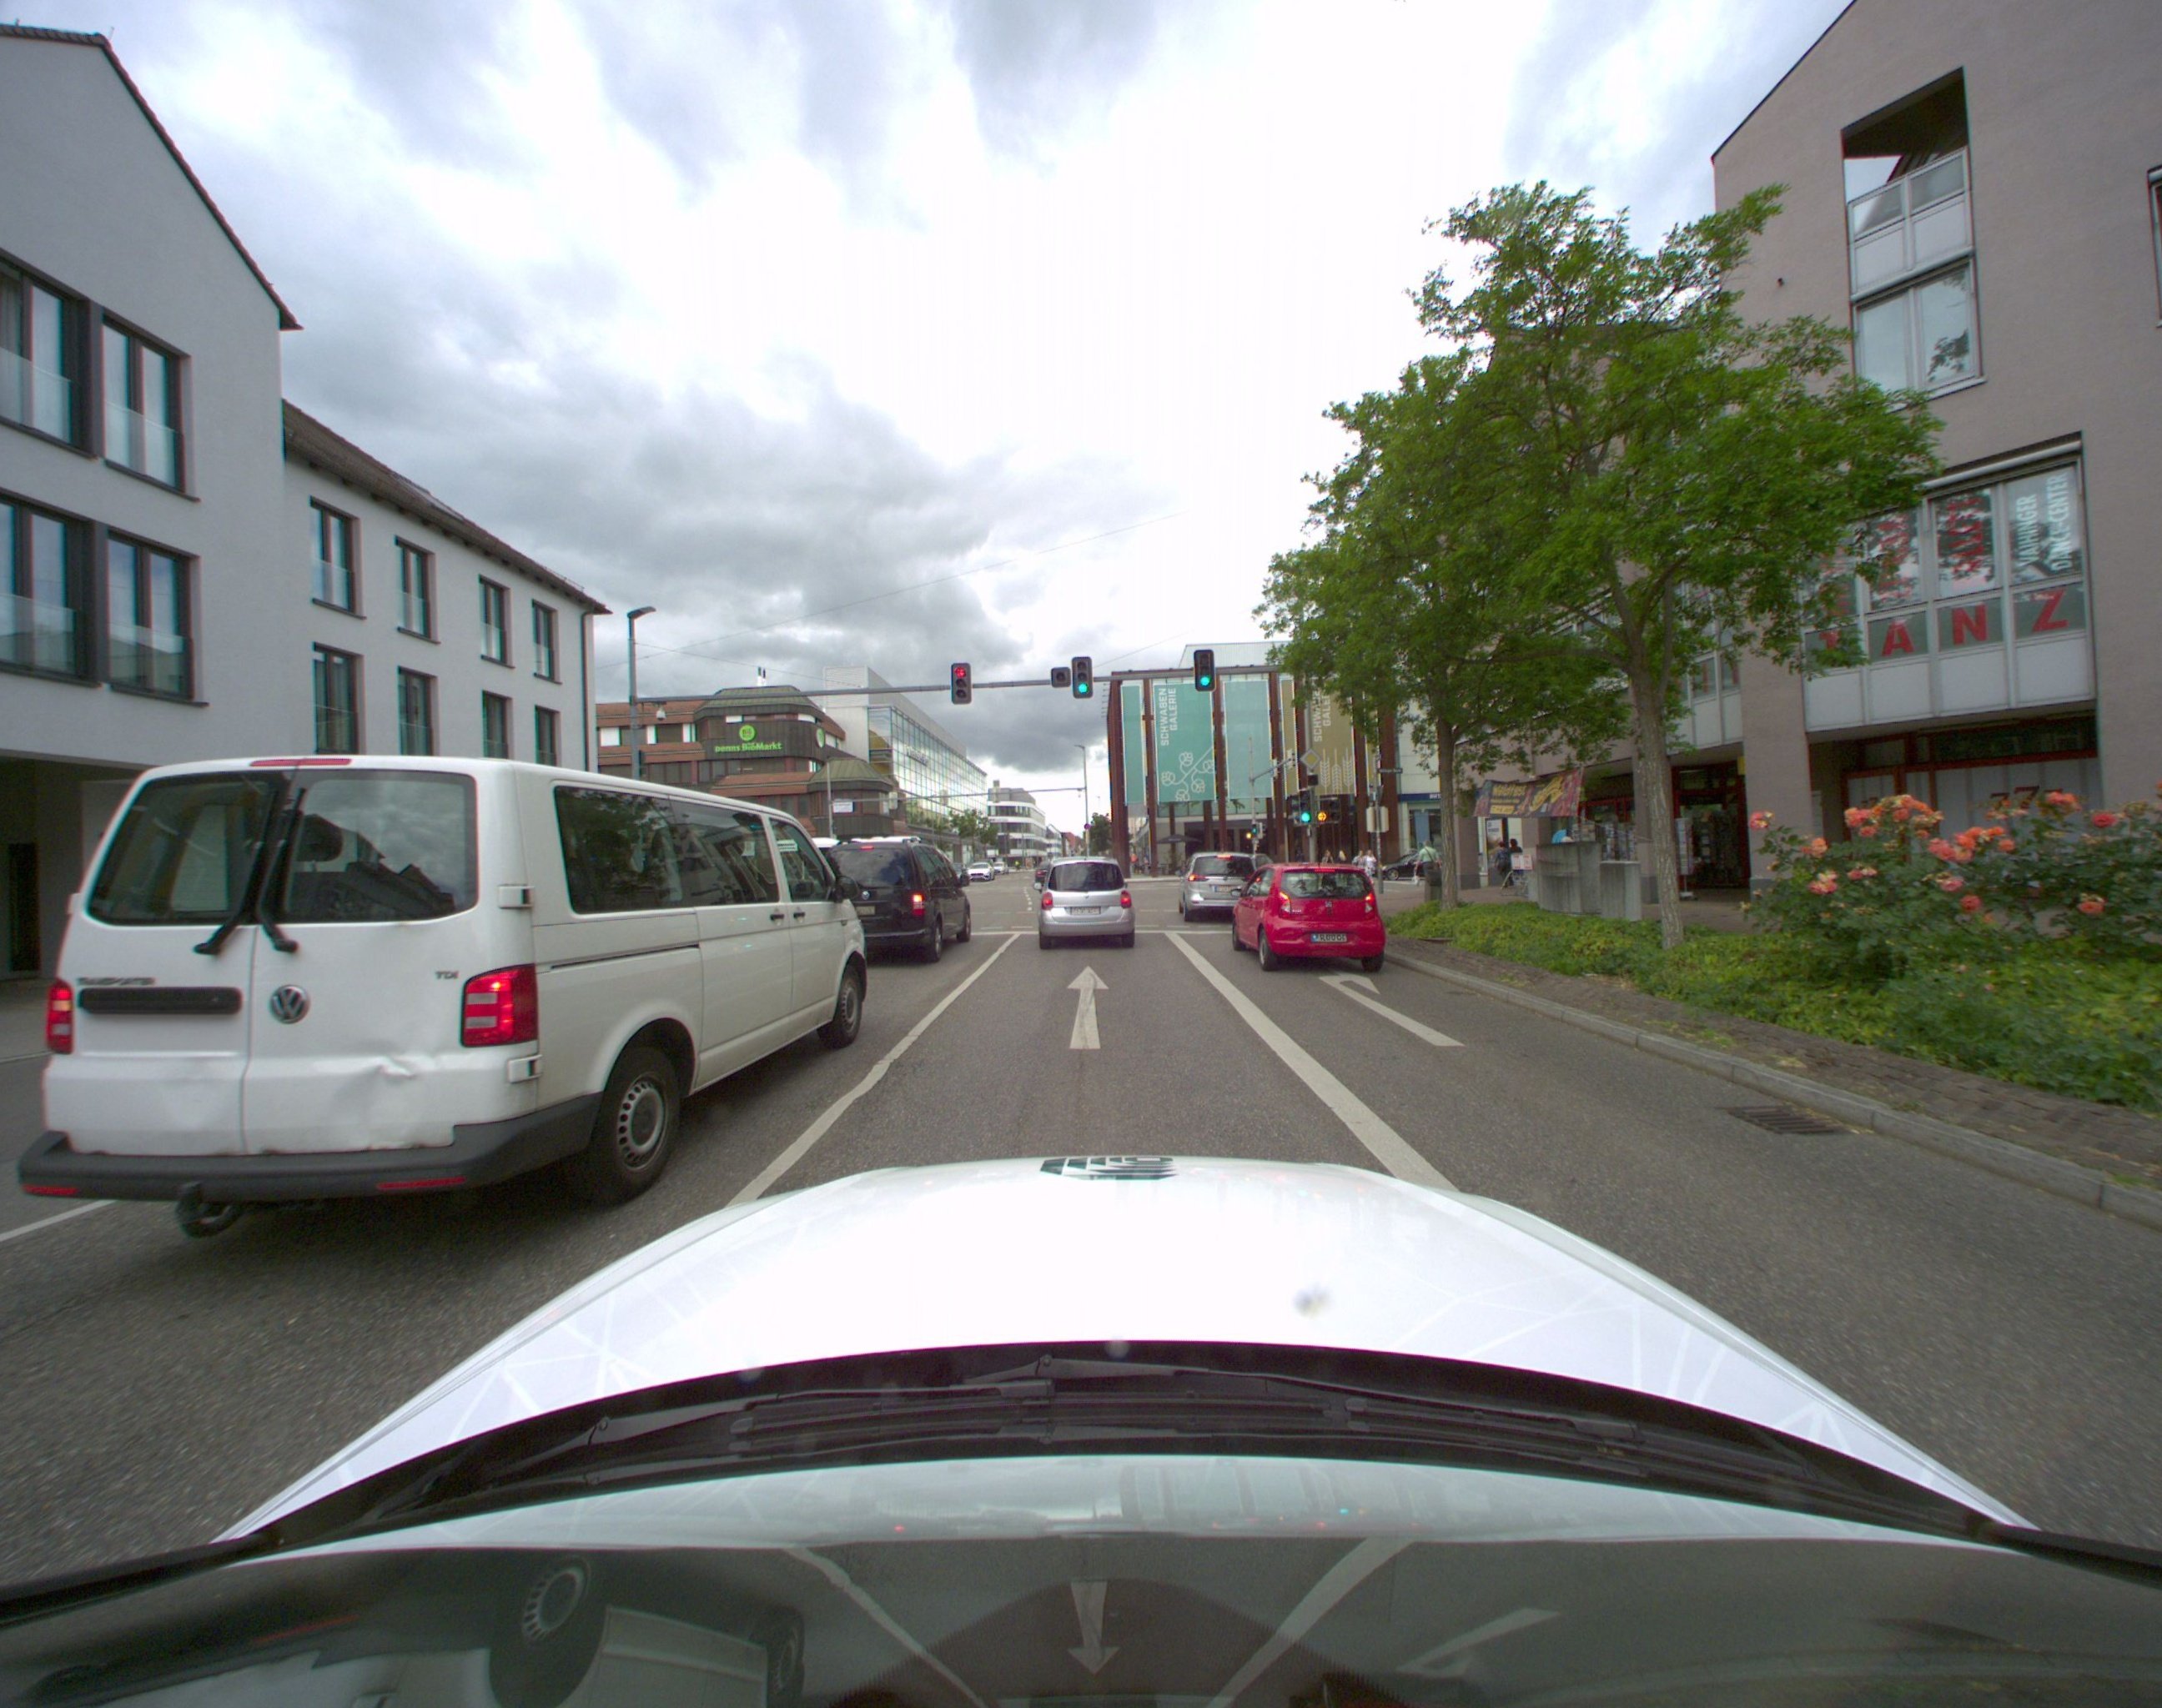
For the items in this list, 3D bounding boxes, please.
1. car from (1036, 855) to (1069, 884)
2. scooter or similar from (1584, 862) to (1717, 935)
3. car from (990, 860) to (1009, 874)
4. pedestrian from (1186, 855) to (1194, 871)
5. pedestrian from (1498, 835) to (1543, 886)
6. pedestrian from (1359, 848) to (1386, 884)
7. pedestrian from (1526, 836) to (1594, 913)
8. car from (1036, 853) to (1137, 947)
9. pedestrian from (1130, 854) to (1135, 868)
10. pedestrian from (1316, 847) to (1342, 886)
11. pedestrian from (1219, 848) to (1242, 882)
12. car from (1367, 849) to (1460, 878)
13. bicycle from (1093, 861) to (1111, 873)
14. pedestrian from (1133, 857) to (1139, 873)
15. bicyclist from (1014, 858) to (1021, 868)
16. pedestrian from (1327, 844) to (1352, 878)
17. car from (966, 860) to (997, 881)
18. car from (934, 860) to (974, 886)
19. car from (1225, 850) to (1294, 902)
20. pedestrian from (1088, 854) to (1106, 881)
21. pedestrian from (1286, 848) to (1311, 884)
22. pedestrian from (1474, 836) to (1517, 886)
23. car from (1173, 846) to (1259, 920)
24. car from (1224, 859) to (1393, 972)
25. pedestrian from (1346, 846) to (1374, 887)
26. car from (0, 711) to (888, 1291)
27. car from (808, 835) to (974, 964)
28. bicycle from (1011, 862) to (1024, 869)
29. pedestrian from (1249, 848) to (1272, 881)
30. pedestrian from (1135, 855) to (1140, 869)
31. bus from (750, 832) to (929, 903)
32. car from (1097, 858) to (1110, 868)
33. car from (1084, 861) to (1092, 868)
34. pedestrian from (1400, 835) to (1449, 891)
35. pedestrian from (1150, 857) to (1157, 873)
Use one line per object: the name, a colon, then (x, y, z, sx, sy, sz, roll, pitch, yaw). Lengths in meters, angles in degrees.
car: (-1.612, 0.868, 46.491, 1.663, 1.554, 3.643, 0, 0, 1)
scooter or similar: (9.272, 0.708, 13.360, 0.471, 1.087, 1.877, -2, -1, -16)
car: (-9.616, 1.521, 95.854, 1.654, 1.465, 4.001, -3, 0, 2)
pedestrian: (8.622, 0.724, 64.453, 0.513, 1.208, 0.795, -2, 1, -1)
pedestrian: (14.261, 0.210, 26.450, 0.828, 1.584, 1.057, -2, -1, -3)
pedestrian: (13.326, 0.531, 37.229, 0.819, 1.595, 1.038, -2, -1, -2)
pedestrian: (10.620, 0.445, 18.099, 0.806, 1.626, 1.093, -2, 0, -1)
car: (0.130, 0.767, 15.239, 1.663, 1.554, 3.643, 0, 0, 1)
pedestrian: (5.749, 0.818, 90.773, 0.425, 1.549, 0.481, -2, -1, -1)
pedestrian: (10.689, 0.549, 35.121, 0.739, 1.626, 0.953, -2, 0, -2)
pedestrian: (7.665, 0.568, 41.717, 0.876, 1.681, 1.119, -2, -1, -2)
car: (17.409, 0.491, 42.734, 4.161, 1.404, 1.799, -1, 0, -2)
bicycle: (1.883, 1.152, 73.773, 1.553, 0.992, 0.753, -2, -1, 4)
pedestrian: (4.064, 0.816, 60.276, 0.445, 1.220, 0.607, -2, -1, 4)
bicyclist: (-10.359, 1.491, 132.880, 1.011, 1.660, 0.925, 1, -1, -27)
pedestrian: (13.608, 0.378, 42.945, 0.876, 1.767, 1.119, -2, -1, -2)
car: (-7.616, 1.241, 62.703, 1.738, 1.459, 4.236, -3, 0, 1)
car: (-7.853, 1.131, 50.666, 1.738, 1.459, 3.819, -3, 0, 1)
car: (6.198, 0.690, 27.824, 1.836, 1.609, 4.884, -1, 0, 18)
pedestrian: (1.000, 0.861, 52.264, 0.861, 1.646, 0.685, -2, 0, 35)
pedestrian: (11.097, 0.592, 41.566, 0.876, 1.767, 1.119, -2, -1, -2)
pedestrian: (13.433, 0.232, 26.397, 0.828, 1.558, 0.968, -2, -1, -3)
car: (3.340, 0.676, 20.843, 1.732, 1.701, 4.385, 0, 0, 4)
car: (3.256, 0.800, 12.319, 1.620, 1.448, 3.643, 0, 0, 1)
pedestrian: (11.448, 0.508, 33.408, 0.739, 1.626, 0.953, -2, 0, -2)
car: (-2.882, 0.524, 5.275, 1.986, 2.014, 4.841, -1, 0, 1)
car: (-2.972, 0.651, 13.762, 1.702, 1.821, 4.571, 0, 0, 0)
bicycle: (-10.434, 1.869, 133.023, 1.011, 1.018, 3.102, 0, -1, -27)
pedestrian: (9.211, 0.538, 41.788, 0.876, 1.681, 1.119, -2, -1, -2)
pedestrian: (6.280, 0.864, 90.771, 0.425, 1.549, 0.481, -2, -1, -1)
bus: (-13.184, 0.550, 46.532, 2.963, 3.327, 12.366, -5, 0, 19)
car: (3.270, 1.286, 117.927, 1.870, 1.335, 4.002, 0, 0, 2)
car: (1.717, 2.305, 186.387, 1.654, 1.465, 4.001, -3, 0, 2)
pedestrian: (11.004, 0.284, 26.096, 1.052, 1.715, 1.110, -2, -1, 0)
pedestrian: (5.383, 0.808, 60.185, 0.445, 1.220, 0.607, -2, -1, 5)
